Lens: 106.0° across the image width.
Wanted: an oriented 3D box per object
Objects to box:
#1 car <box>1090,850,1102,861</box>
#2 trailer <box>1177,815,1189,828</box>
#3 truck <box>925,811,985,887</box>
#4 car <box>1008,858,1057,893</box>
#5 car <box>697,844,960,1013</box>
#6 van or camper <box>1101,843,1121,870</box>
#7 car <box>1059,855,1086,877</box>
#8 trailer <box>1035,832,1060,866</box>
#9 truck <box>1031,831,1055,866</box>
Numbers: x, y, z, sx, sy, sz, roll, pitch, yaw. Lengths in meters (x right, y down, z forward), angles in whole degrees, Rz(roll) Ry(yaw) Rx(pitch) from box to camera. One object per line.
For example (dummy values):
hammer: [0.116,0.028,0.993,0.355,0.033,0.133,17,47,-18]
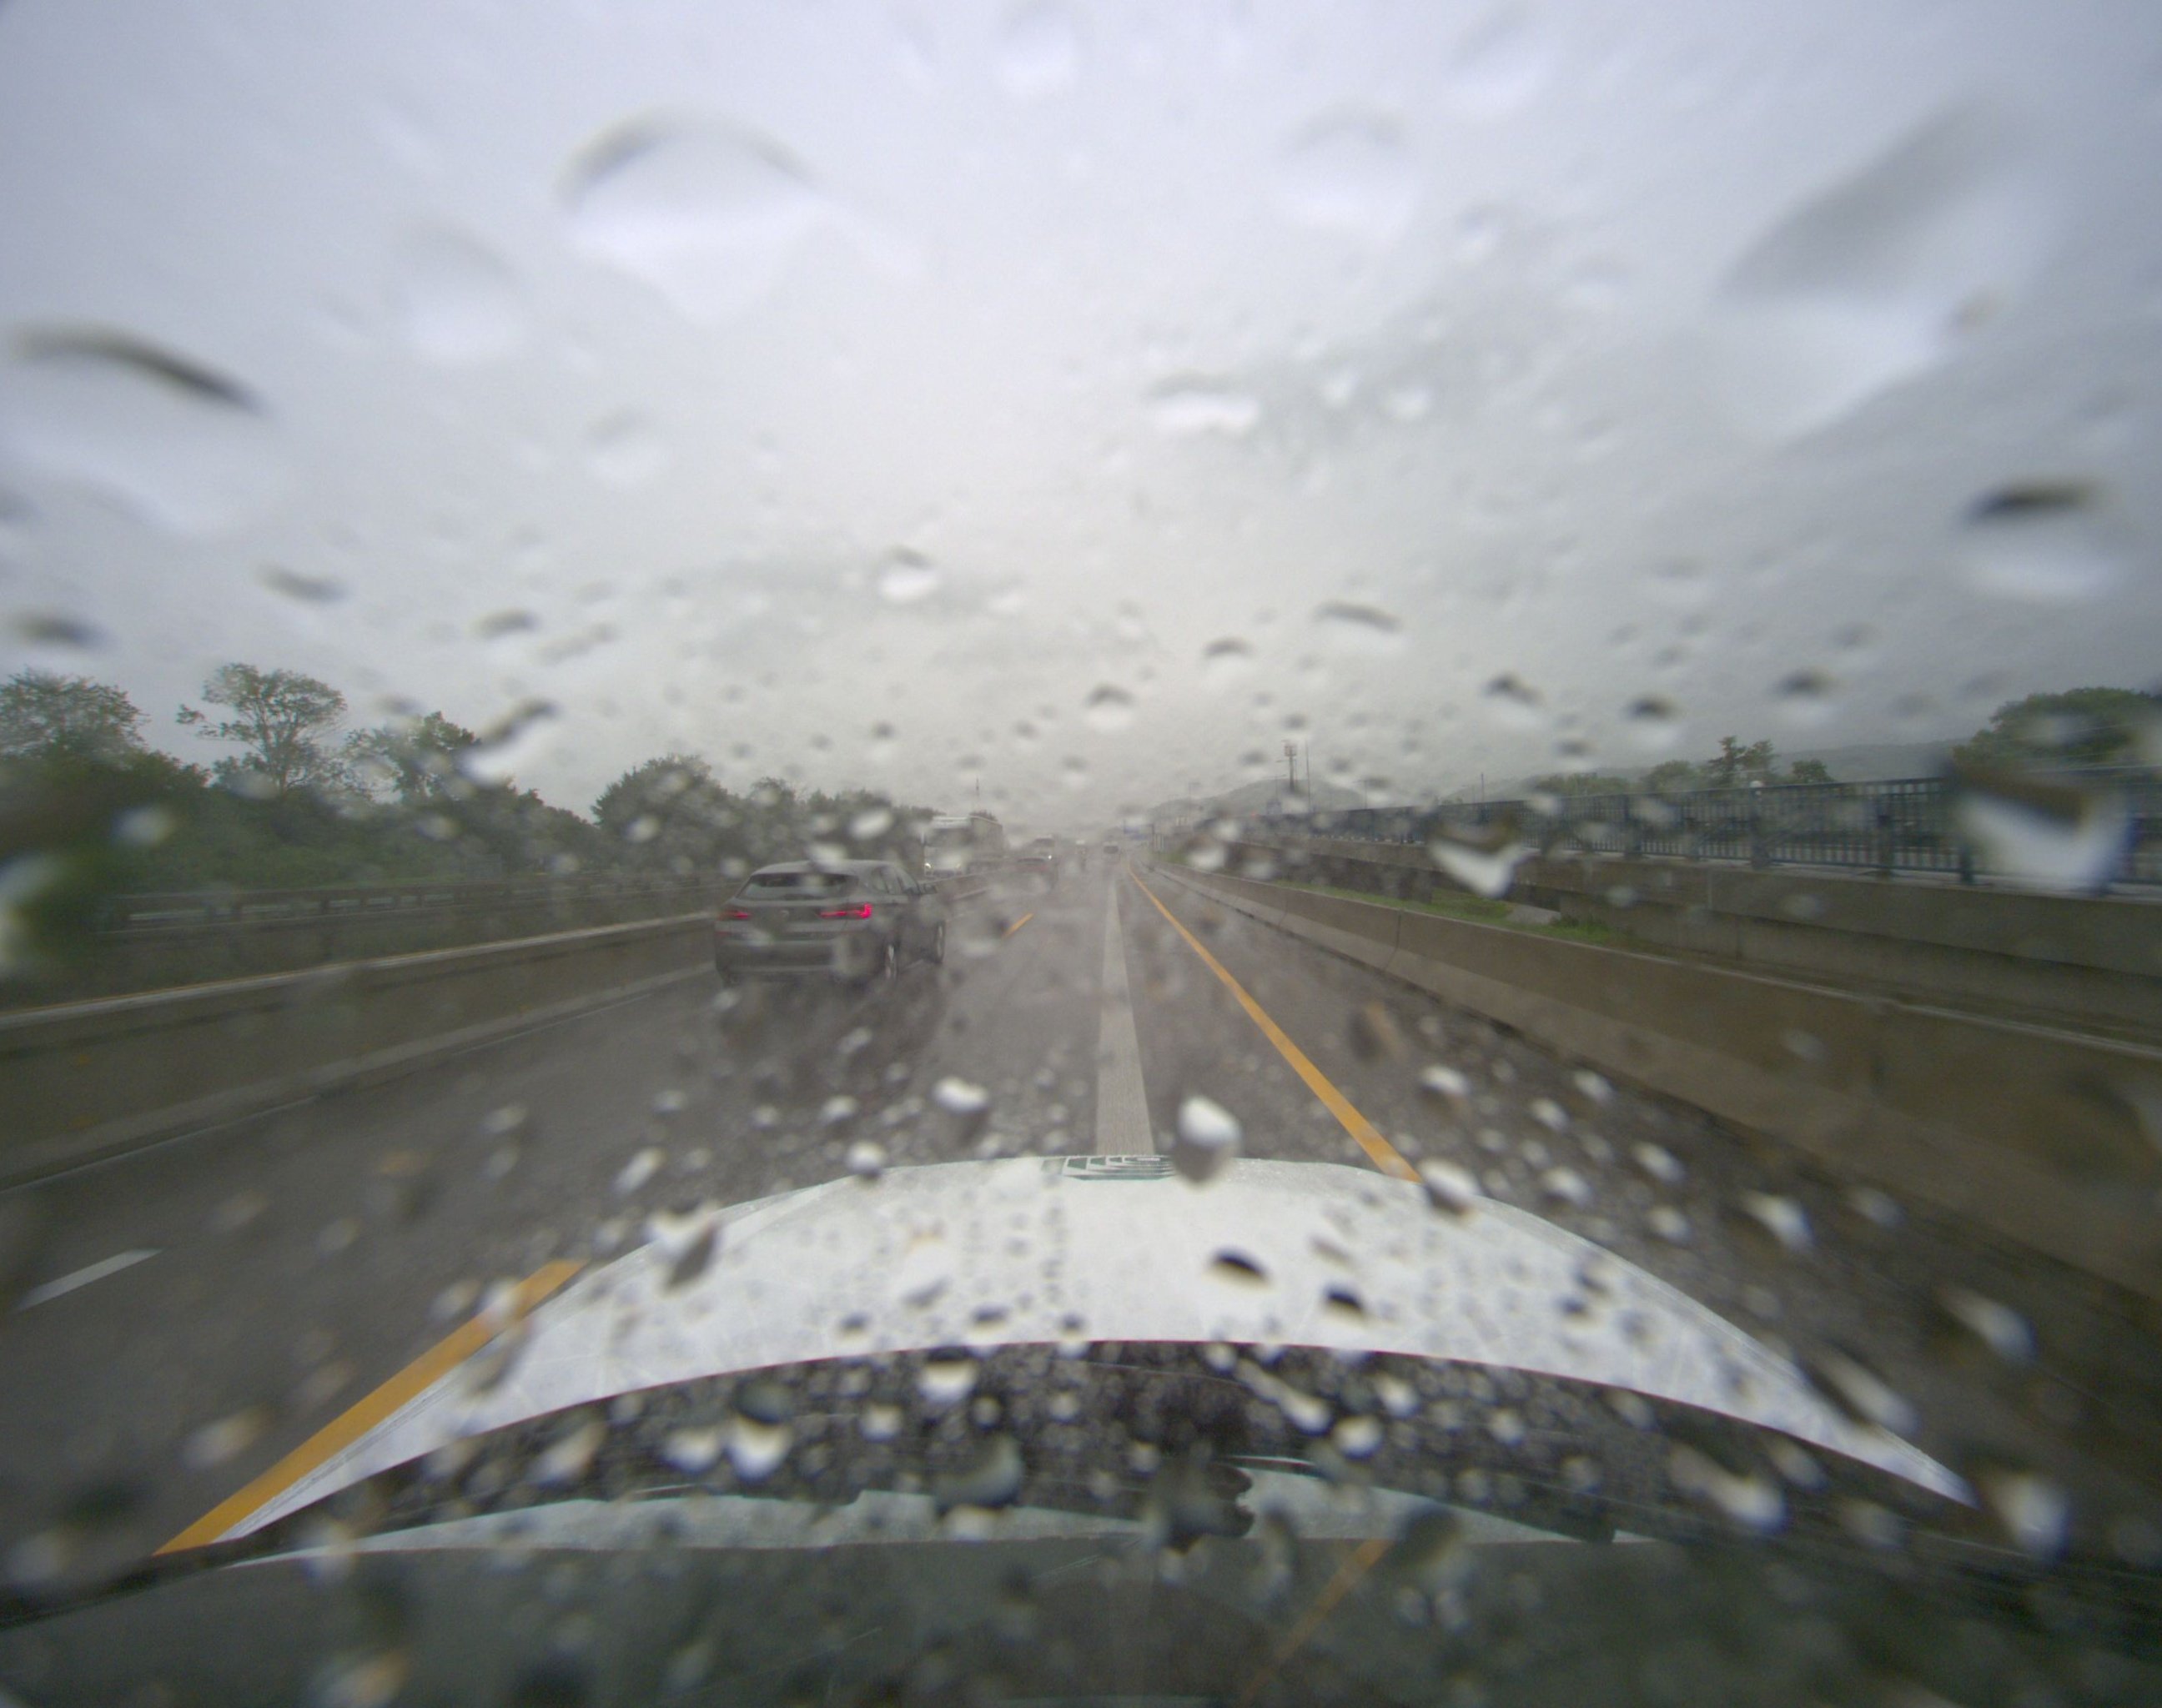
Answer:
car: [2.154,0.221,117.405,1.561,1.480,2.822,-3,-1,1]
trailer: [21.961,-6.951,175.608,1.984,2.106,13.785,-1,-1,5]
truck: [-7.897,-0.242,51.733,2.493,4.463,6.884,-1,-1,2]
car: [-2.116,0.934,36.418,1.838,1.491,4.262,-1,-1,1]
car: [-2.810,0.718,10.306,1.695,1.598,4.846,-1,0,1]
van or camper: [3.222,0.282,87.928,1.989,2.777,4.050,-1,-1,1]
car: [-0.634,0.931,63.058,1.838,1.491,4.262,-3,0,1]
trailer: [-4.846,-0.629,118.700,2.537,4.589,12.017,-1,-1,3]
truck: [-5.201,-0.680,112.044,2.549,4.603,6.457,-1,-1,3]
